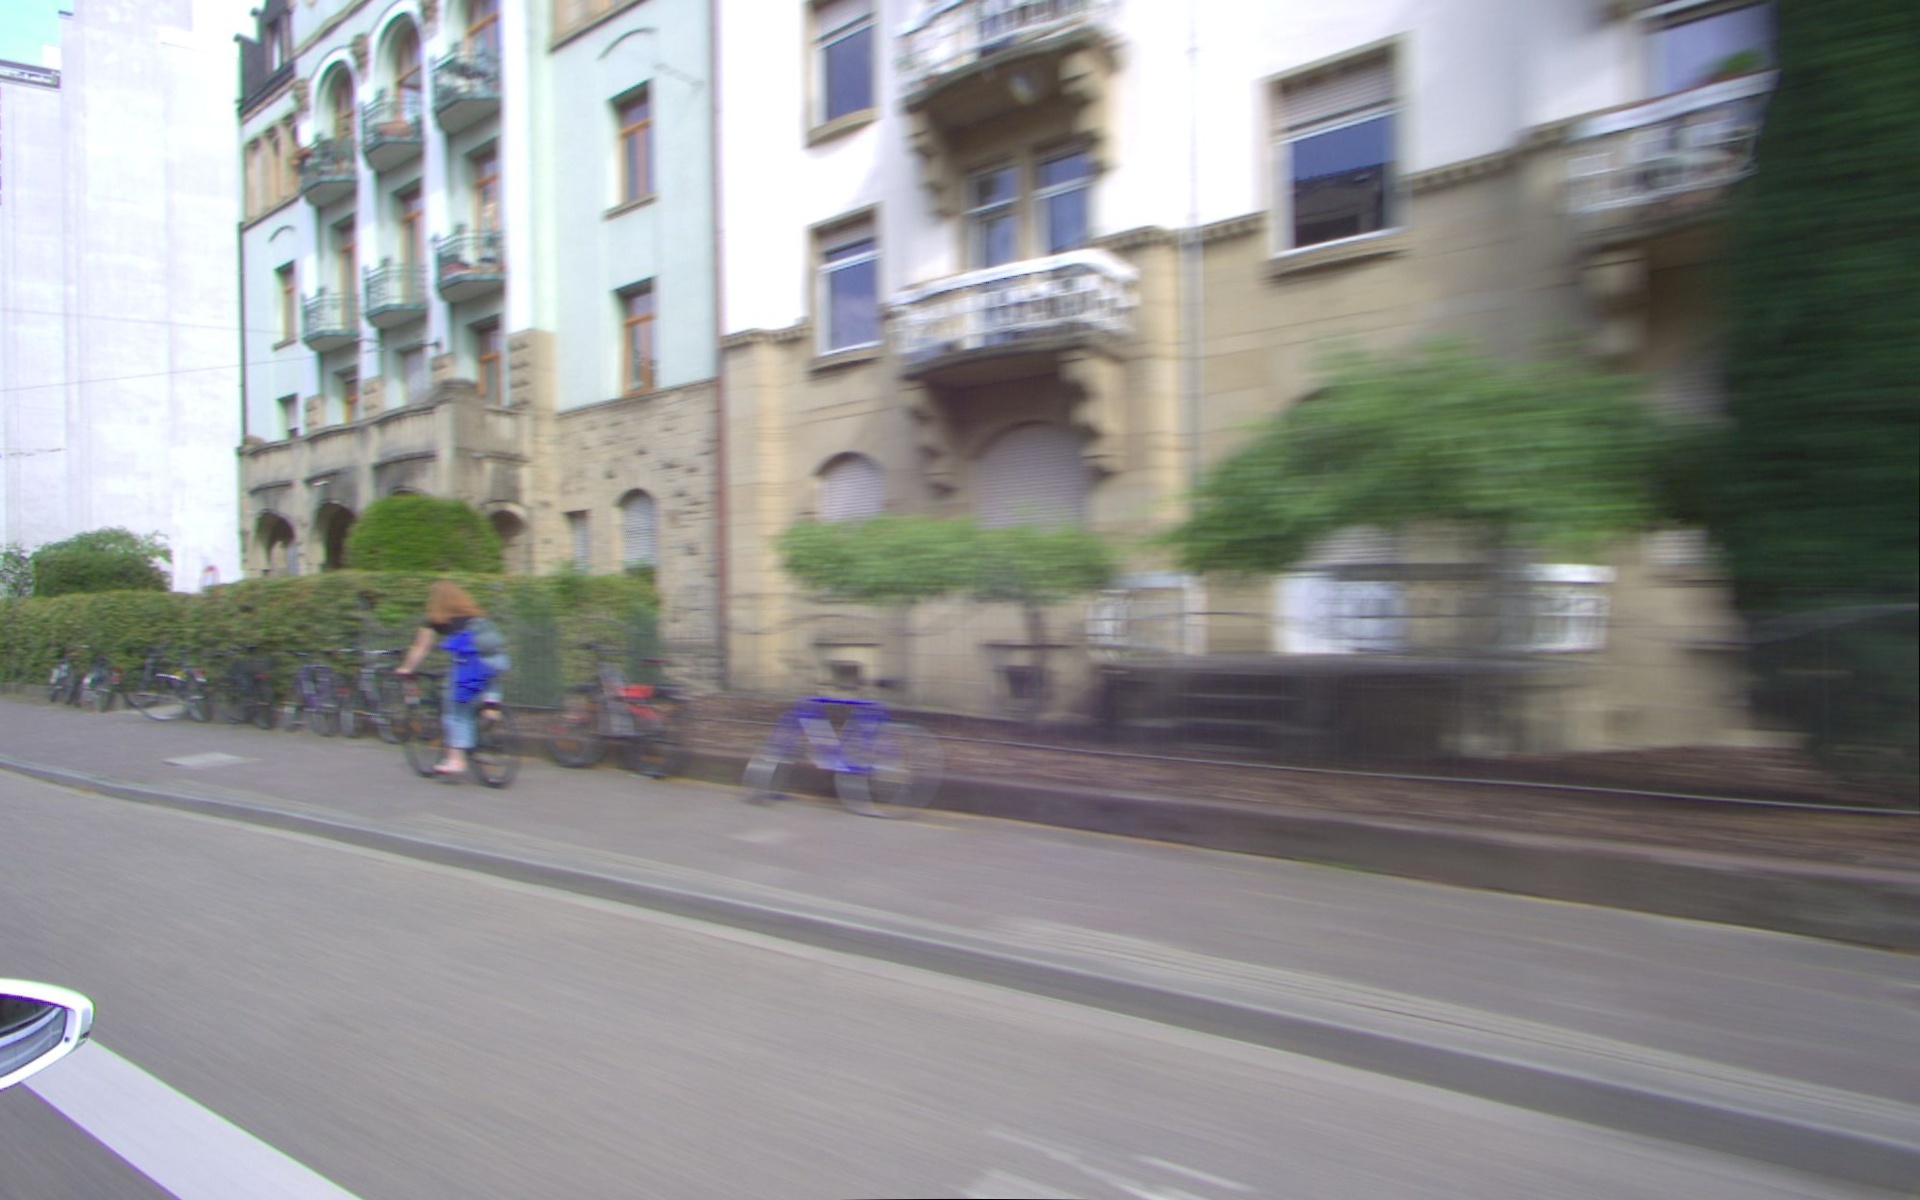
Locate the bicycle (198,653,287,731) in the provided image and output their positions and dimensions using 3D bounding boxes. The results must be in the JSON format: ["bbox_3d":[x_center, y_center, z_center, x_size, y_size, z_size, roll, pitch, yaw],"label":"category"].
[{"bbox_3d":[-9.386,1.177,13.086,1.644,0.919,0.483,-2,0,38],"label":"bicycle"}]

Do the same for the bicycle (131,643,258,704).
[{"bbox_3d":[-13.133,1.241,17.233,0.480,0.919,1.655,-1,0,33],"label":"bicycle"}]

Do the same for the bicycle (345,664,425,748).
[{"bbox_3d":[-6.412,1.161,11.149,1.182,0.864,0.277,-2,0,36],"label":"bicycle"}]

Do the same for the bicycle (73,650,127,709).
[{"bbox_3d":[-14.431,1.313,16.793,1.645,0.919,0.384,-2,0,40],"label":"bicycle"}]

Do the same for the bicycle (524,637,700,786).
[{"bbox_3d":[-3.056,0.916,8.690,1.895,1.157,0.390,-1,1,35],"label":"bicycle"}]

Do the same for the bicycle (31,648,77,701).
[{"bbox_3d":[-16.796,1.356,18.560,1.645,0.919,0.384,-2,0,40],"label":"bicycle"}]

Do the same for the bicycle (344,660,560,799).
[{"bbox_3d":[-4.359,1.051,8.539,2.007,0.975,0.686,-1,2,33],"label":"bicycle"}]

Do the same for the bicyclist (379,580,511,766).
[{"bbox_3d":[-4.382,0.591,8.533,0.789,1.490,0.646,0,2,32],"label":"bicyclist"}]

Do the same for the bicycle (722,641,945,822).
[{"bbox_3d":[-0.926,0.868,7.060,1.736,1.118,0.390,-1,1,35],"label":"bicycle"}]

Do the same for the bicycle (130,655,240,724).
[{"bbox_3d":[-10.951,1.250,14.140,1.637,0.919,0.486,-2,0,24],"label":"bicycle"}]

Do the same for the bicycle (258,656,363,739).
[{"bbox_3d":[-7.893,1.159,12.150,1.643,0.919,0.484,-2,0,35],"label":"bicycle"}]
